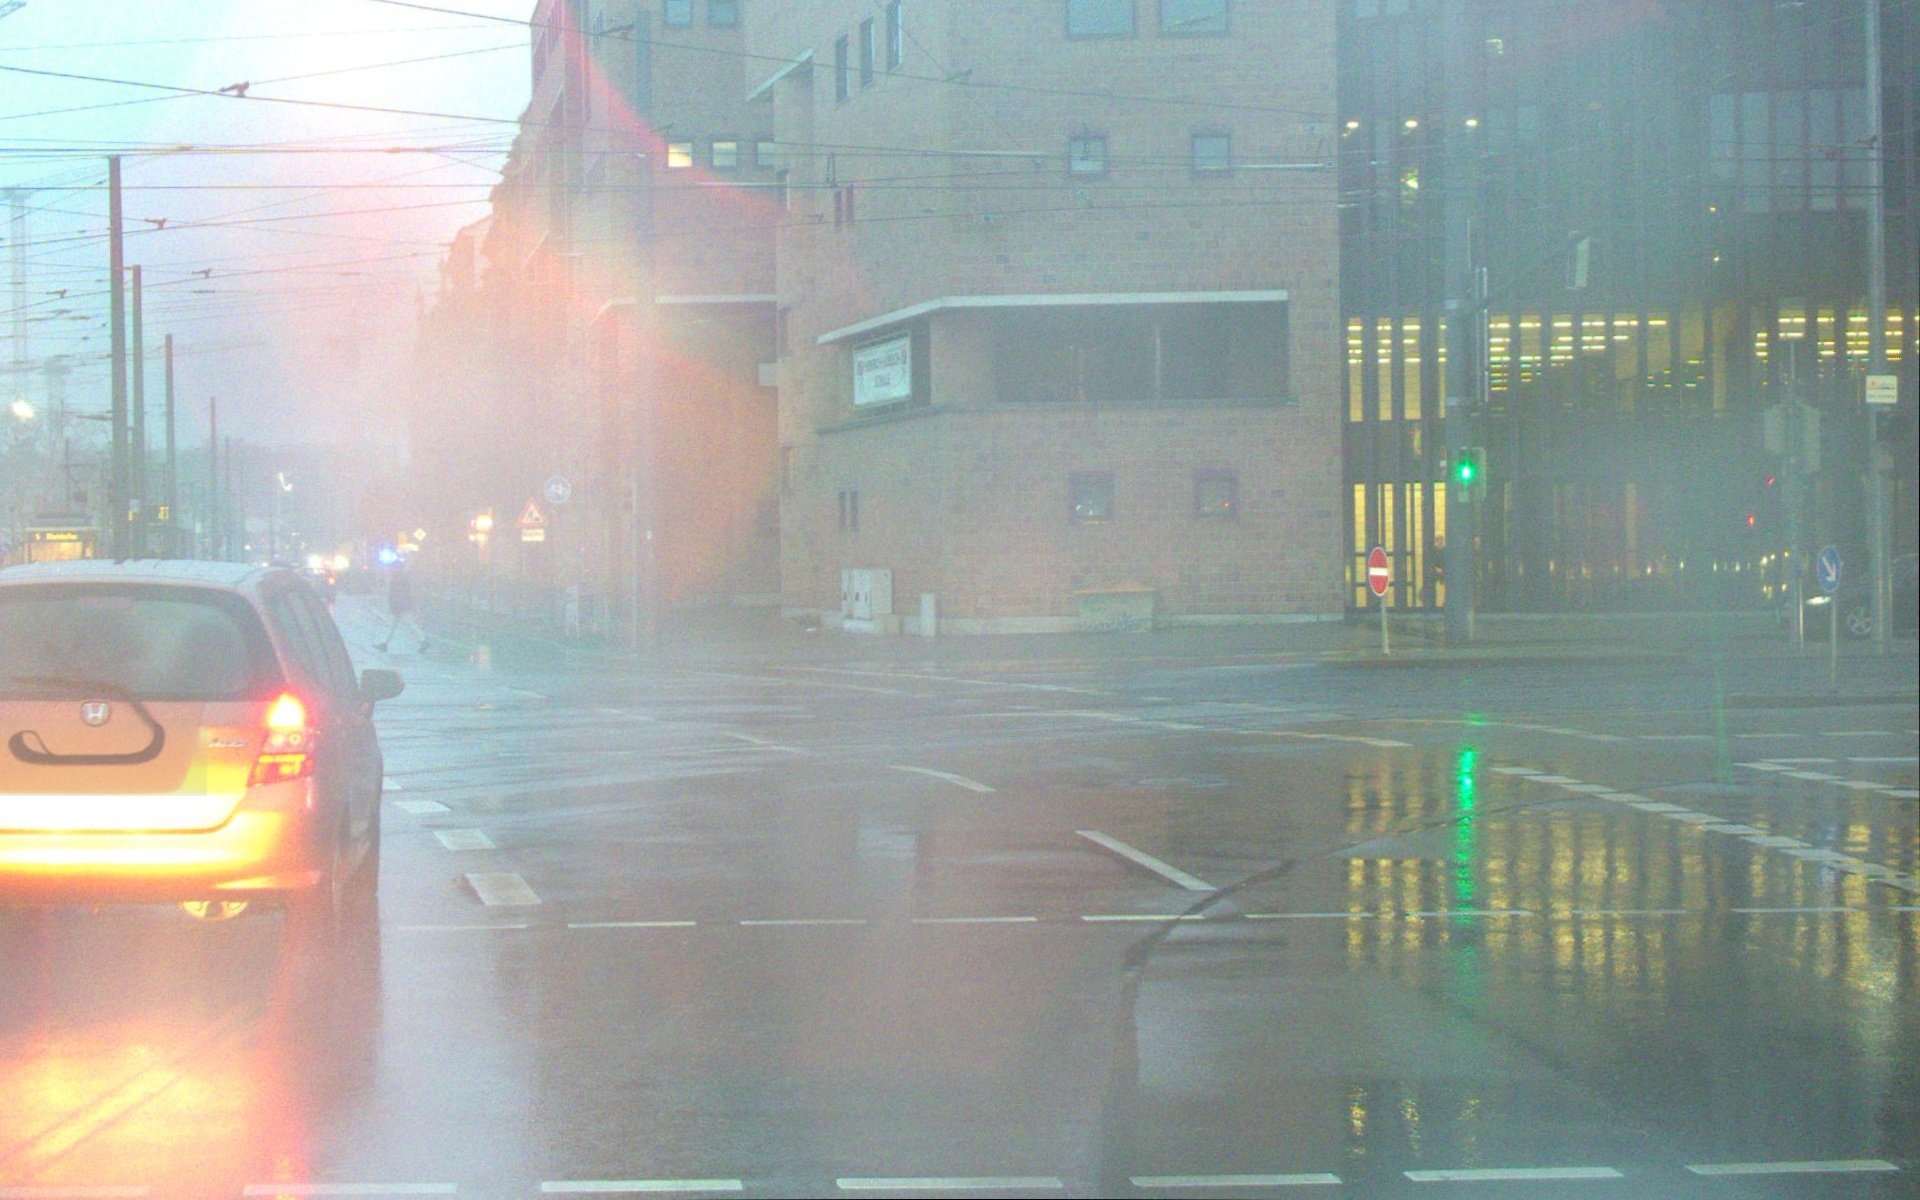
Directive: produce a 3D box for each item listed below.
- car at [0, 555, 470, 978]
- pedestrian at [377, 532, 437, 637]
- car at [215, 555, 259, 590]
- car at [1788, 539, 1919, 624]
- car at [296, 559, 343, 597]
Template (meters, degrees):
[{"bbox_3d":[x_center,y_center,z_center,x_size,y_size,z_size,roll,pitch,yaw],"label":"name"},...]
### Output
[{"bbox_3d":[-3.104,0.563,13.898,1.698,1.454,3.757,-1,1,0],"label":"car"},{"bbox_3d":[-10.638,-0.304,66.126,1.068,2.007,0.685,-1,1,-13],"label":"pedestrian"},{"bbox_3d":[-34.466,-1.298,163.981,1.870,1.573,4.001,1,1,-10],"label":"car"},{"bbox_3d":[15.691,-0.337,55.715,3.986,1.305,2.000,-1,1,-4],"label":"car"},{"bbox_3d":[-28.474,-0.982,152.901,1.870,1.573,4.001,2,1,-8],"label":"car"}]
